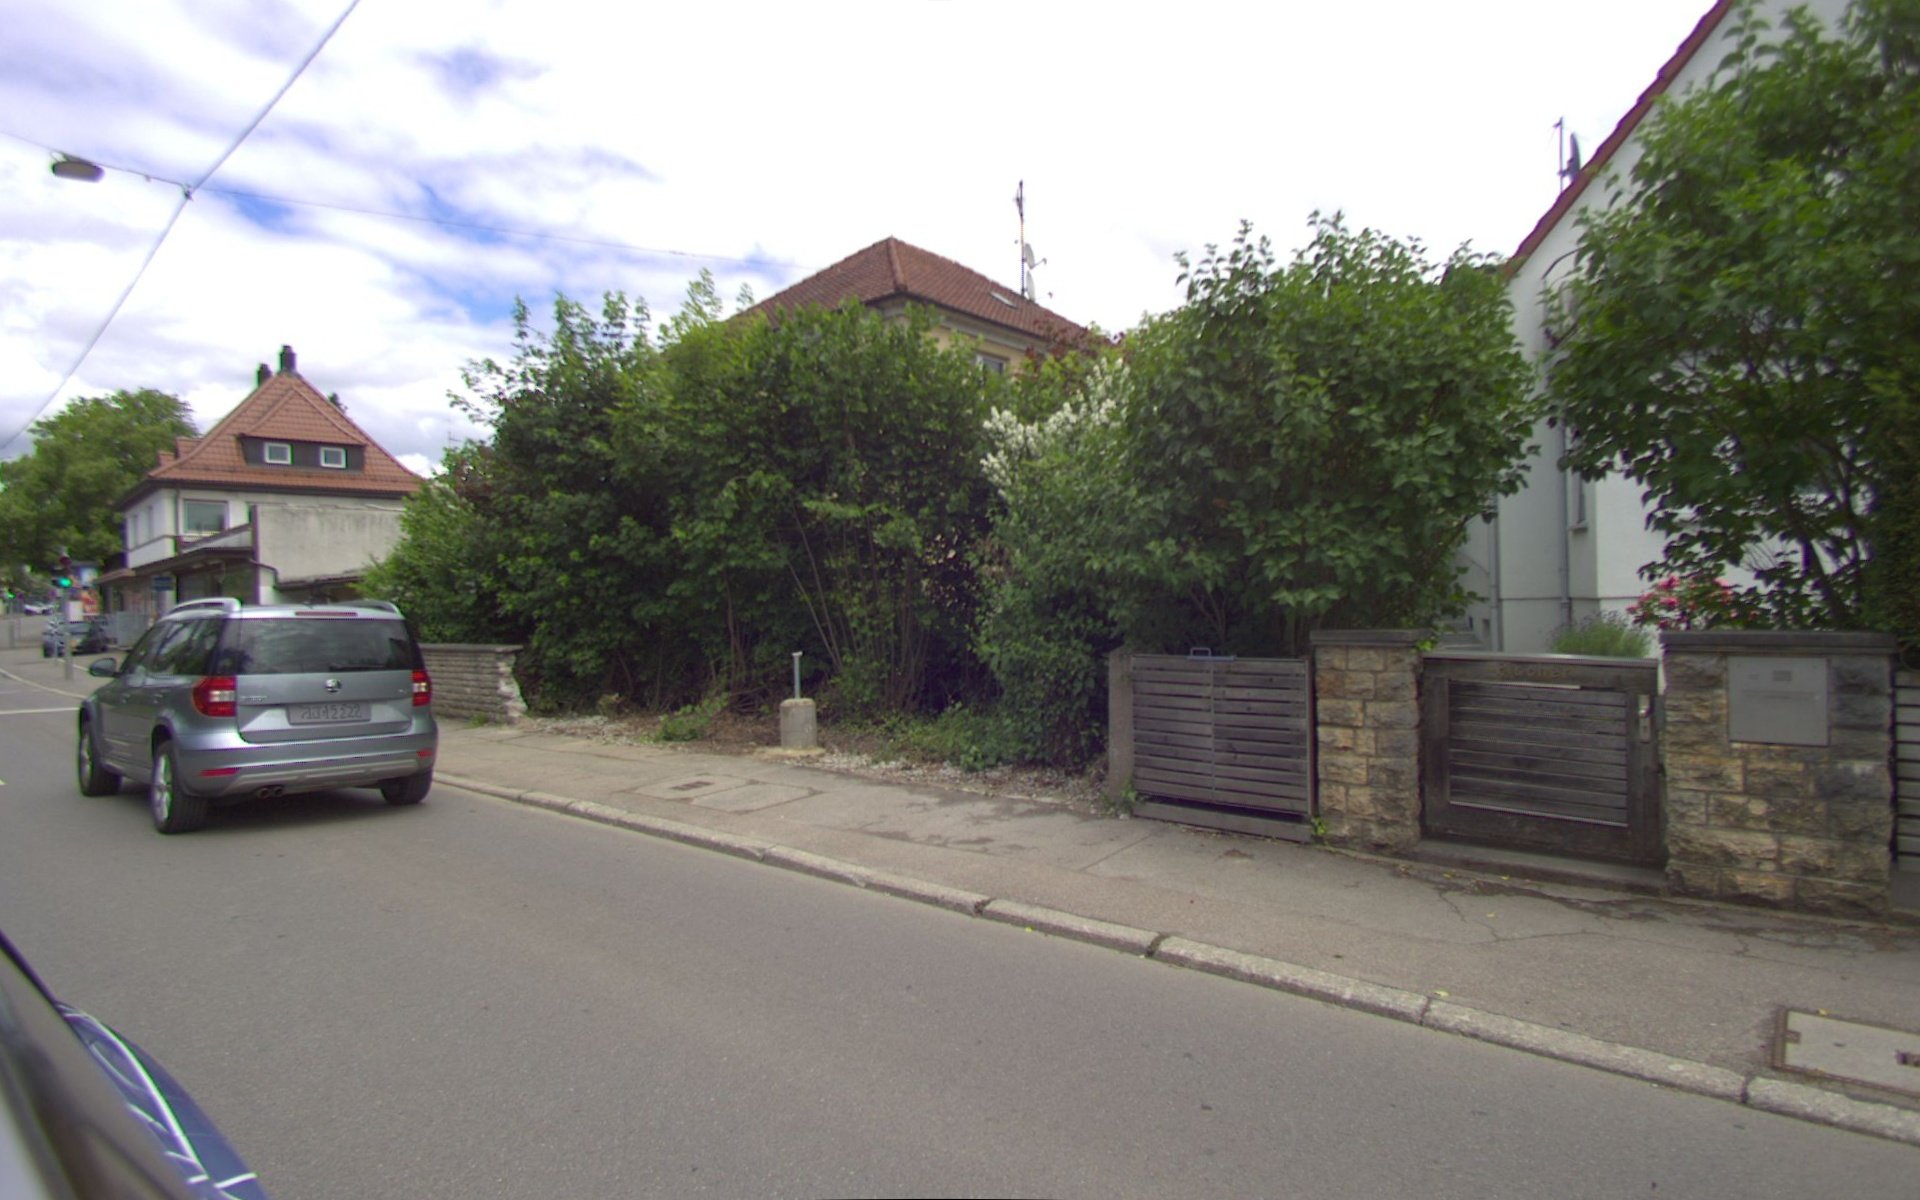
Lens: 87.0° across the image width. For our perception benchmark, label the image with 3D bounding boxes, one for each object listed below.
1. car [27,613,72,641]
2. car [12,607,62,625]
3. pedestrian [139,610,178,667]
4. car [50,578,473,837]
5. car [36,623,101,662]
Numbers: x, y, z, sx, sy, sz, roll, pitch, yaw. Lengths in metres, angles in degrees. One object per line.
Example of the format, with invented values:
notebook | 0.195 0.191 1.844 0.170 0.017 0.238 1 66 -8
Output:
car | -60.877 1.779 67.657 3.998 1.690 1.749 -1 2 41
car | -106.143 1.827 116.446 3.935 1.752 2.005 -4 2 -36
pedestrian | -25.676 1.228 32.413 0.604 1.757 0.811 -1 2 42
car | -6.028 0.744 8.562 4.134 1.668 1.822 -1 -3 39
car | -37.677 1.766 42.839 1.795 1.361 3.398 -4 2 -38
